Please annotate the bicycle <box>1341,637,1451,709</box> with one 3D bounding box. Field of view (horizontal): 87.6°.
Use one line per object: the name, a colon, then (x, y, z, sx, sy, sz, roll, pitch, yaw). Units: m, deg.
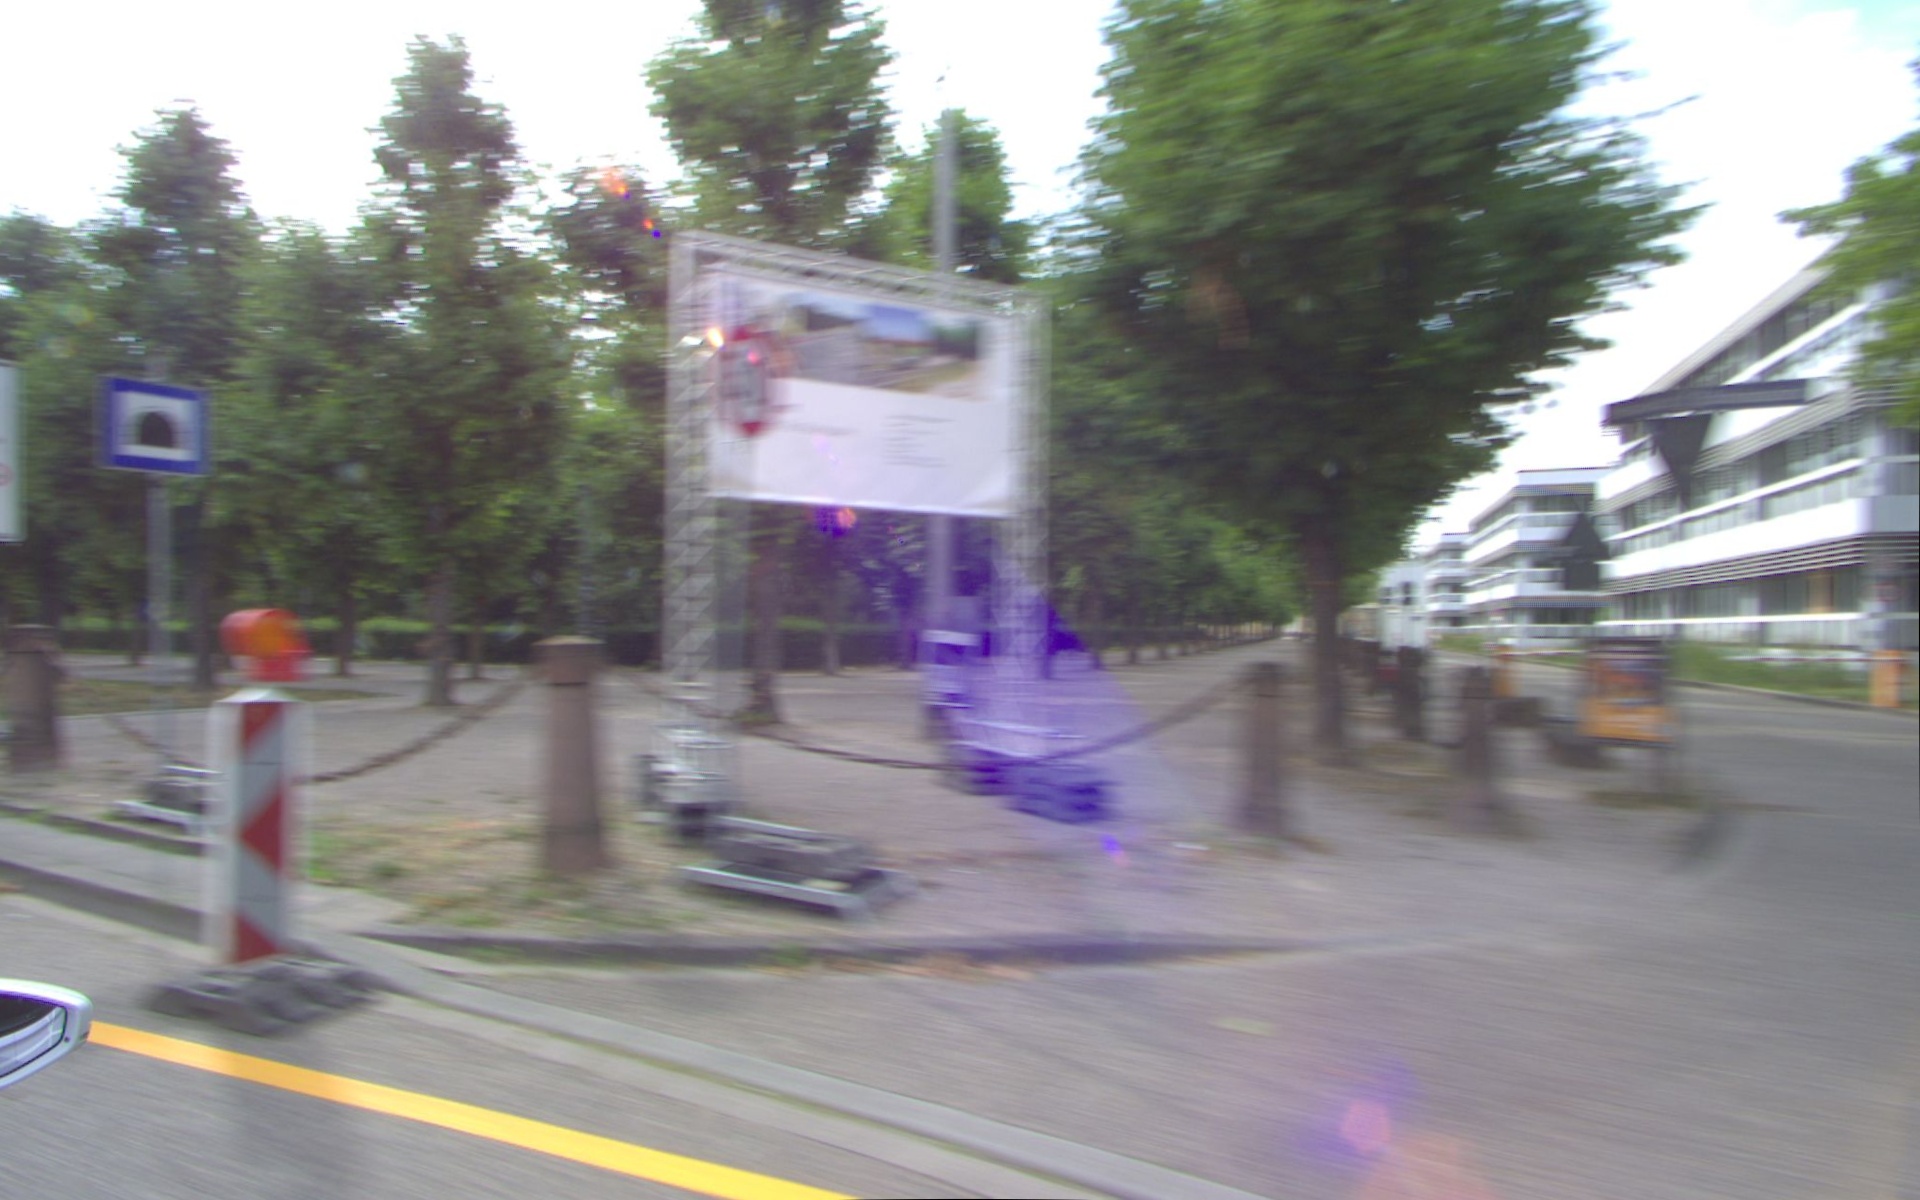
bicycle: (7.874, 1.290, 18.243, 0.936, 1.124, 2.580, 2, 0, 3)
